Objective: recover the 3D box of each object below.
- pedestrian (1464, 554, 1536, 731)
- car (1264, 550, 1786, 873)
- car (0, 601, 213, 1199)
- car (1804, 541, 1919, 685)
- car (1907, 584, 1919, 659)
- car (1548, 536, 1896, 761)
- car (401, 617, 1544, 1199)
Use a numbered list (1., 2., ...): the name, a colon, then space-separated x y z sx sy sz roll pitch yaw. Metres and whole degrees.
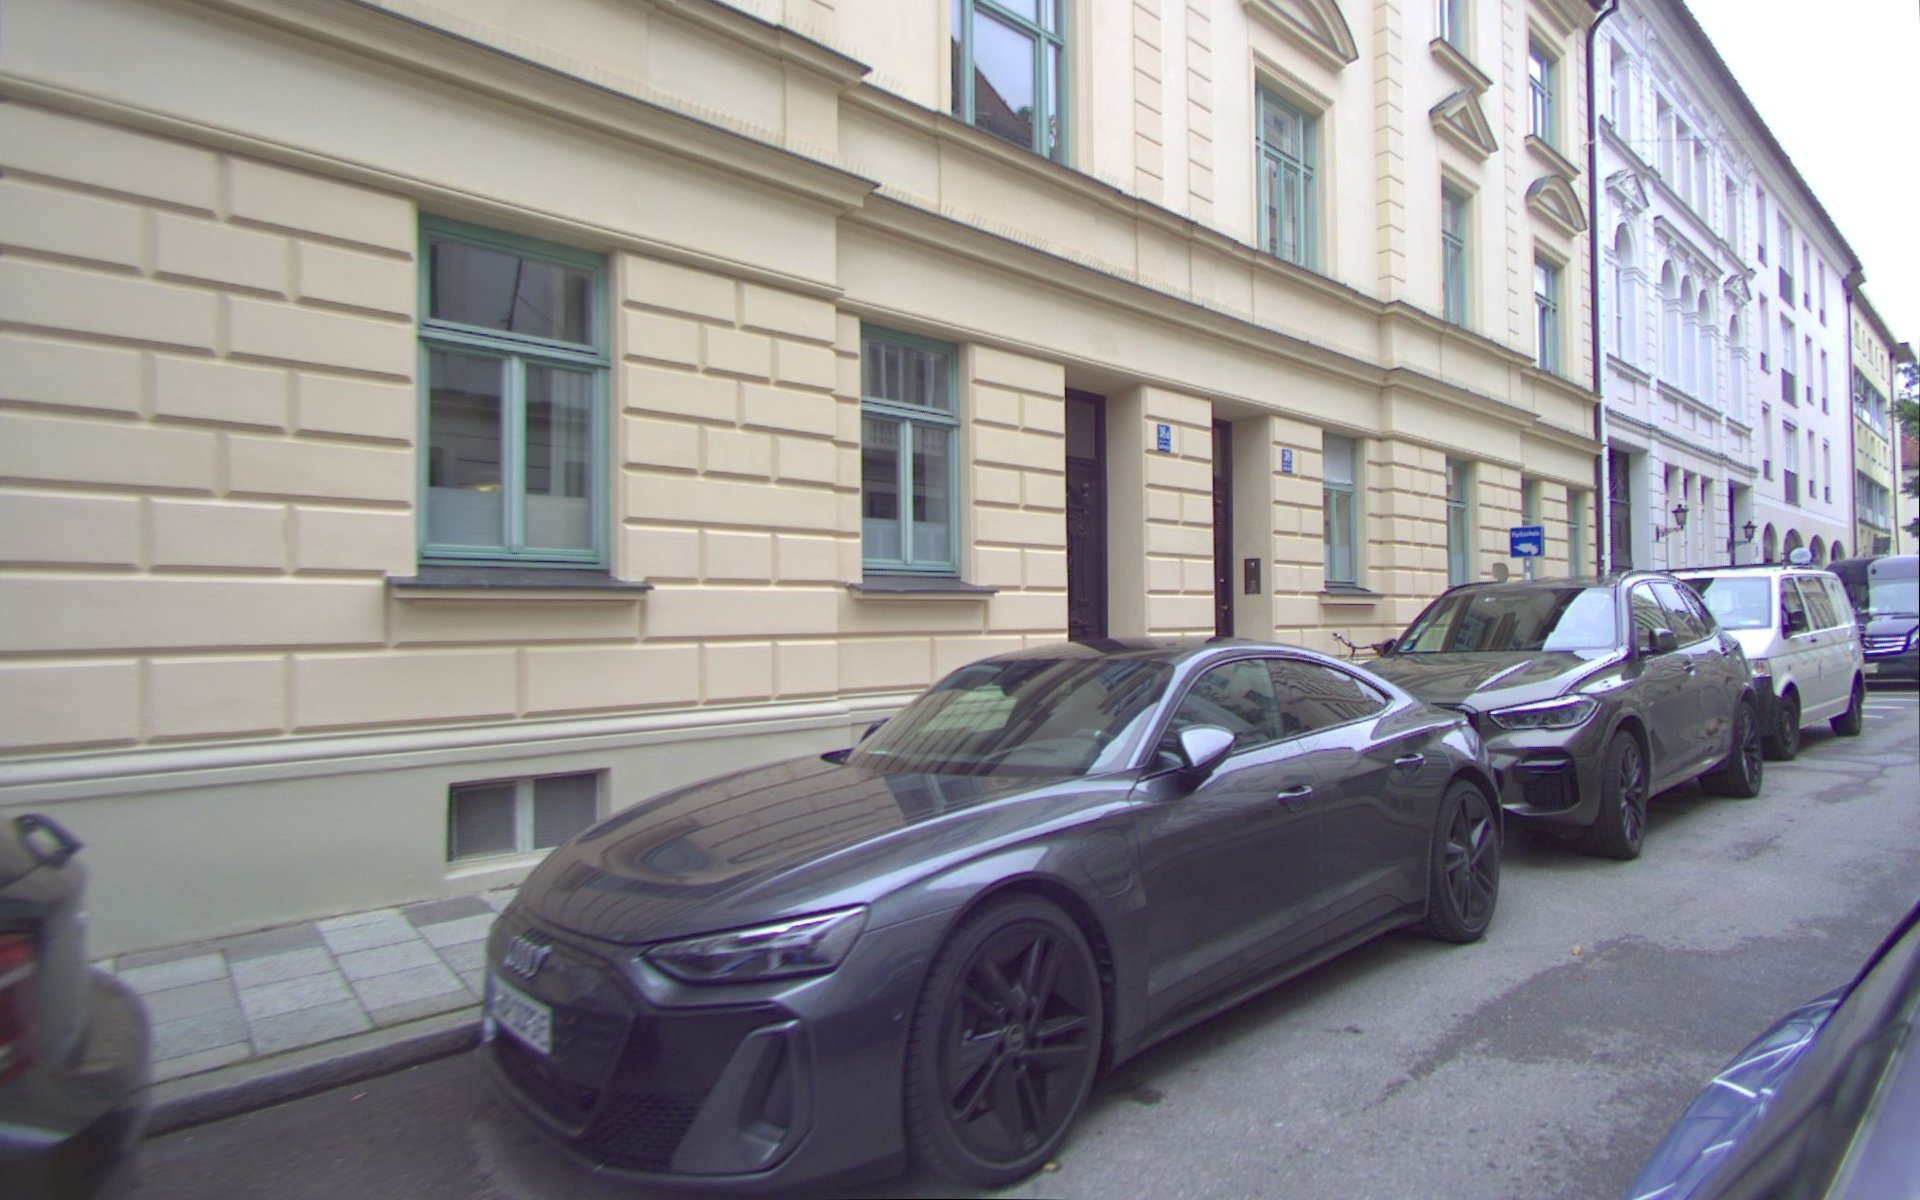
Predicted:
1. pedestrian: 6.309 0.480 11.833 0.448 2.003 0.580 0 -2 -41
2. car: 4.398 0.594 7.571 4.430 1.708 1.997 0 0 -40
3. car: -3.481 0.753 0.861 4.433 1.392 1.856 0 -3 -43
4. car: 18.575 0.252 19.912 4.999 2.527 2.012 0 -5 -40
5. car: 28.554 0.520 28.524 4.999 2.027 2.012 0 -4 -40
6. car: 8.804 0.439 11.523 4.971 2.039 1.998 0 -1 -39
7. car: 0.444 0.768 4.157 4.512 1.330 1.997 0 0 -40
